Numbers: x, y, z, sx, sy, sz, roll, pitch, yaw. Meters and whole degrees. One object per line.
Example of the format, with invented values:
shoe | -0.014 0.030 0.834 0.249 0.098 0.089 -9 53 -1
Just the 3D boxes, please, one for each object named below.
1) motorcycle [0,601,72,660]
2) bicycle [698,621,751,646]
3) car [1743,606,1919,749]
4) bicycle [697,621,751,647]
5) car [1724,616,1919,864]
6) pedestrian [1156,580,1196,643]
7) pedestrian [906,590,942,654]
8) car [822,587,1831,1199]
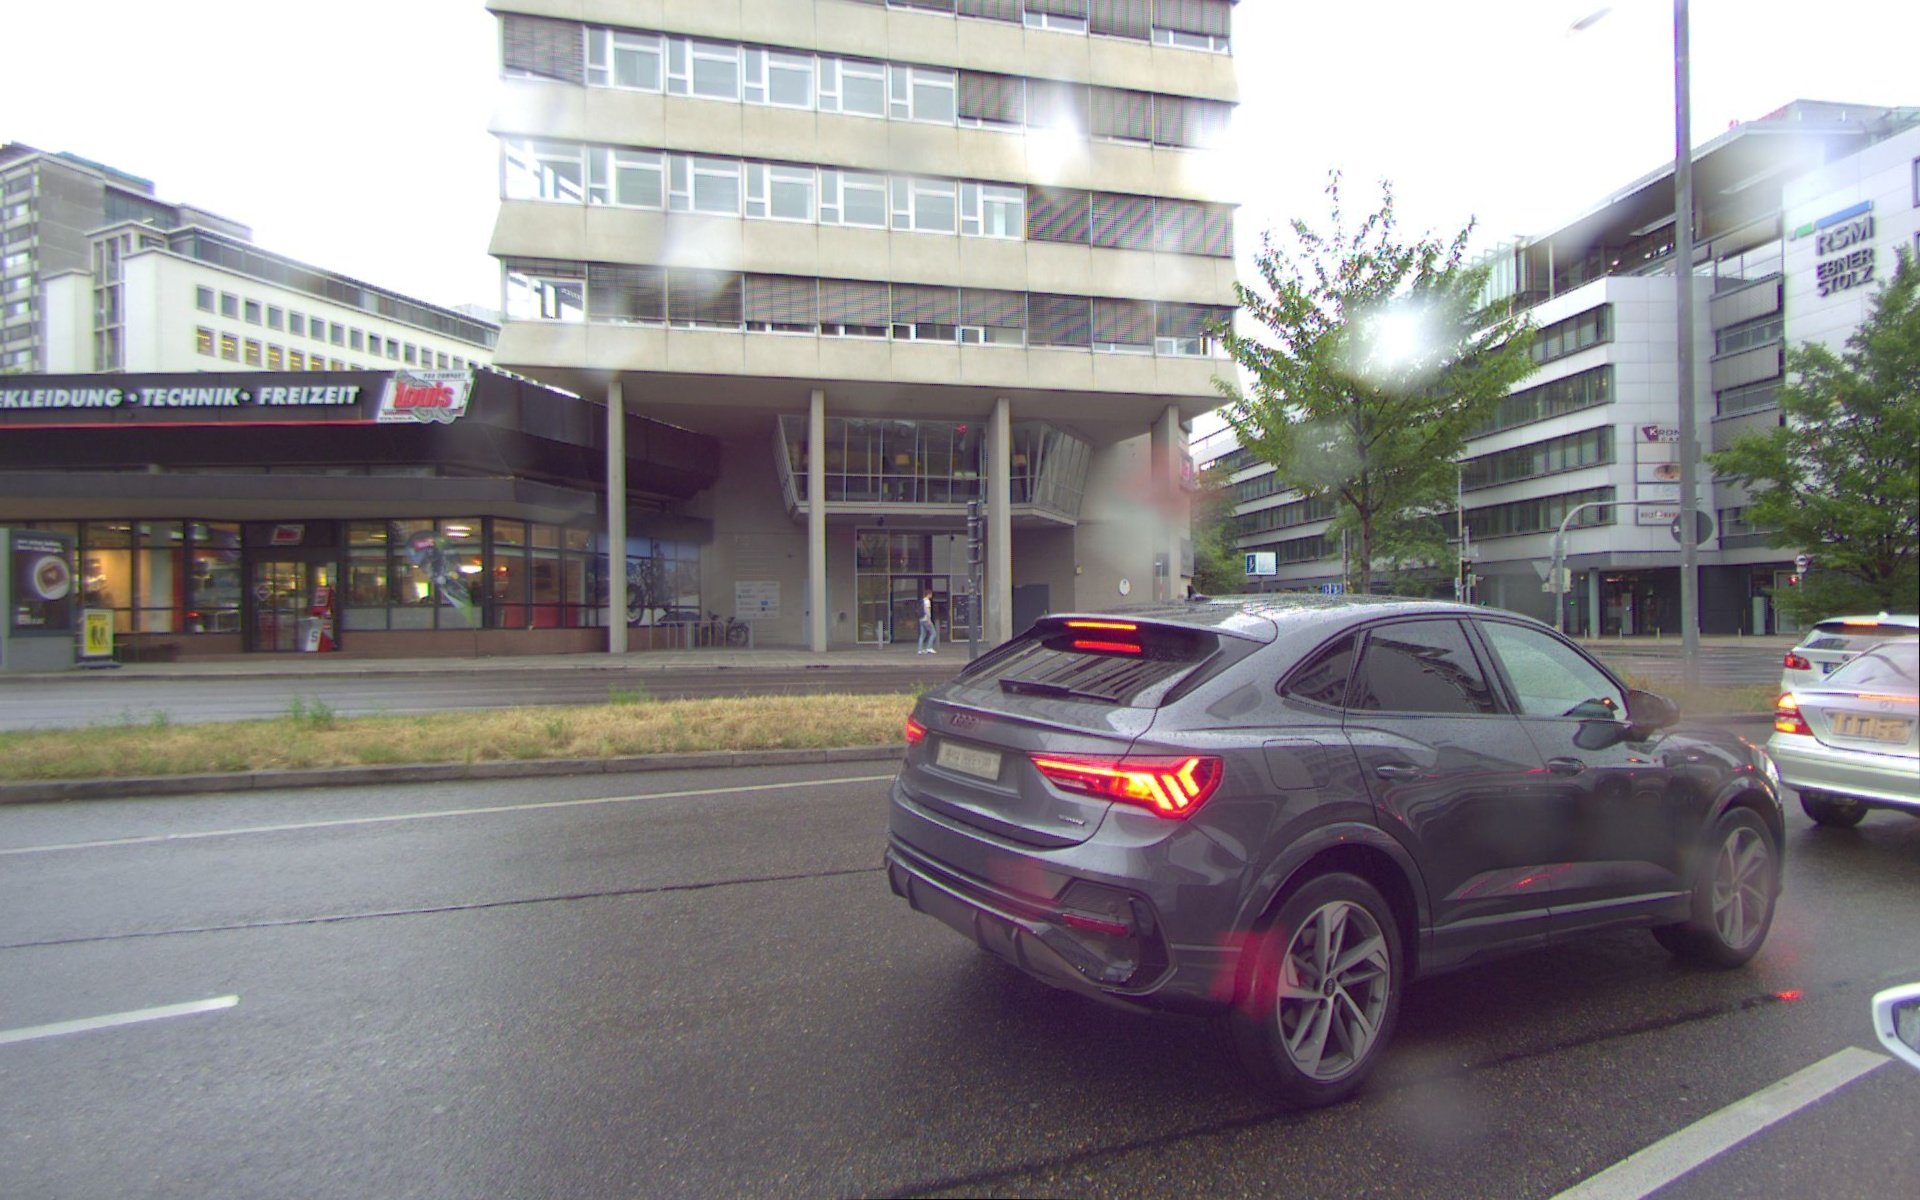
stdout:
motorcycle | -23.567 0.739 24.700 0.788 1.392 2.893 1 0 3
bicycle | -8.021 1.140 34.298 1.743 0.823 0.454 1 0 -12
car | 12.492 0.919 12.967 3.937 1.617 1.883 1 0 -18
bicycle | -7.908 1.139 33.718 1.743 0.823 0.454 1 0 -12
car | 7.663 0.883 7.182 4.136 1.505 1.679 1 -1 -23
pedestrian | 6.450 0.354 30.034 0.909 1.857 0.727 1 -1 -14
pedestrian | -1.065 0.648 29.744 0.909 1.857 0.817 1 0 -14
car | 1.750 0.734 4.280 4.242 1.454 1.925 1 -1 -34
